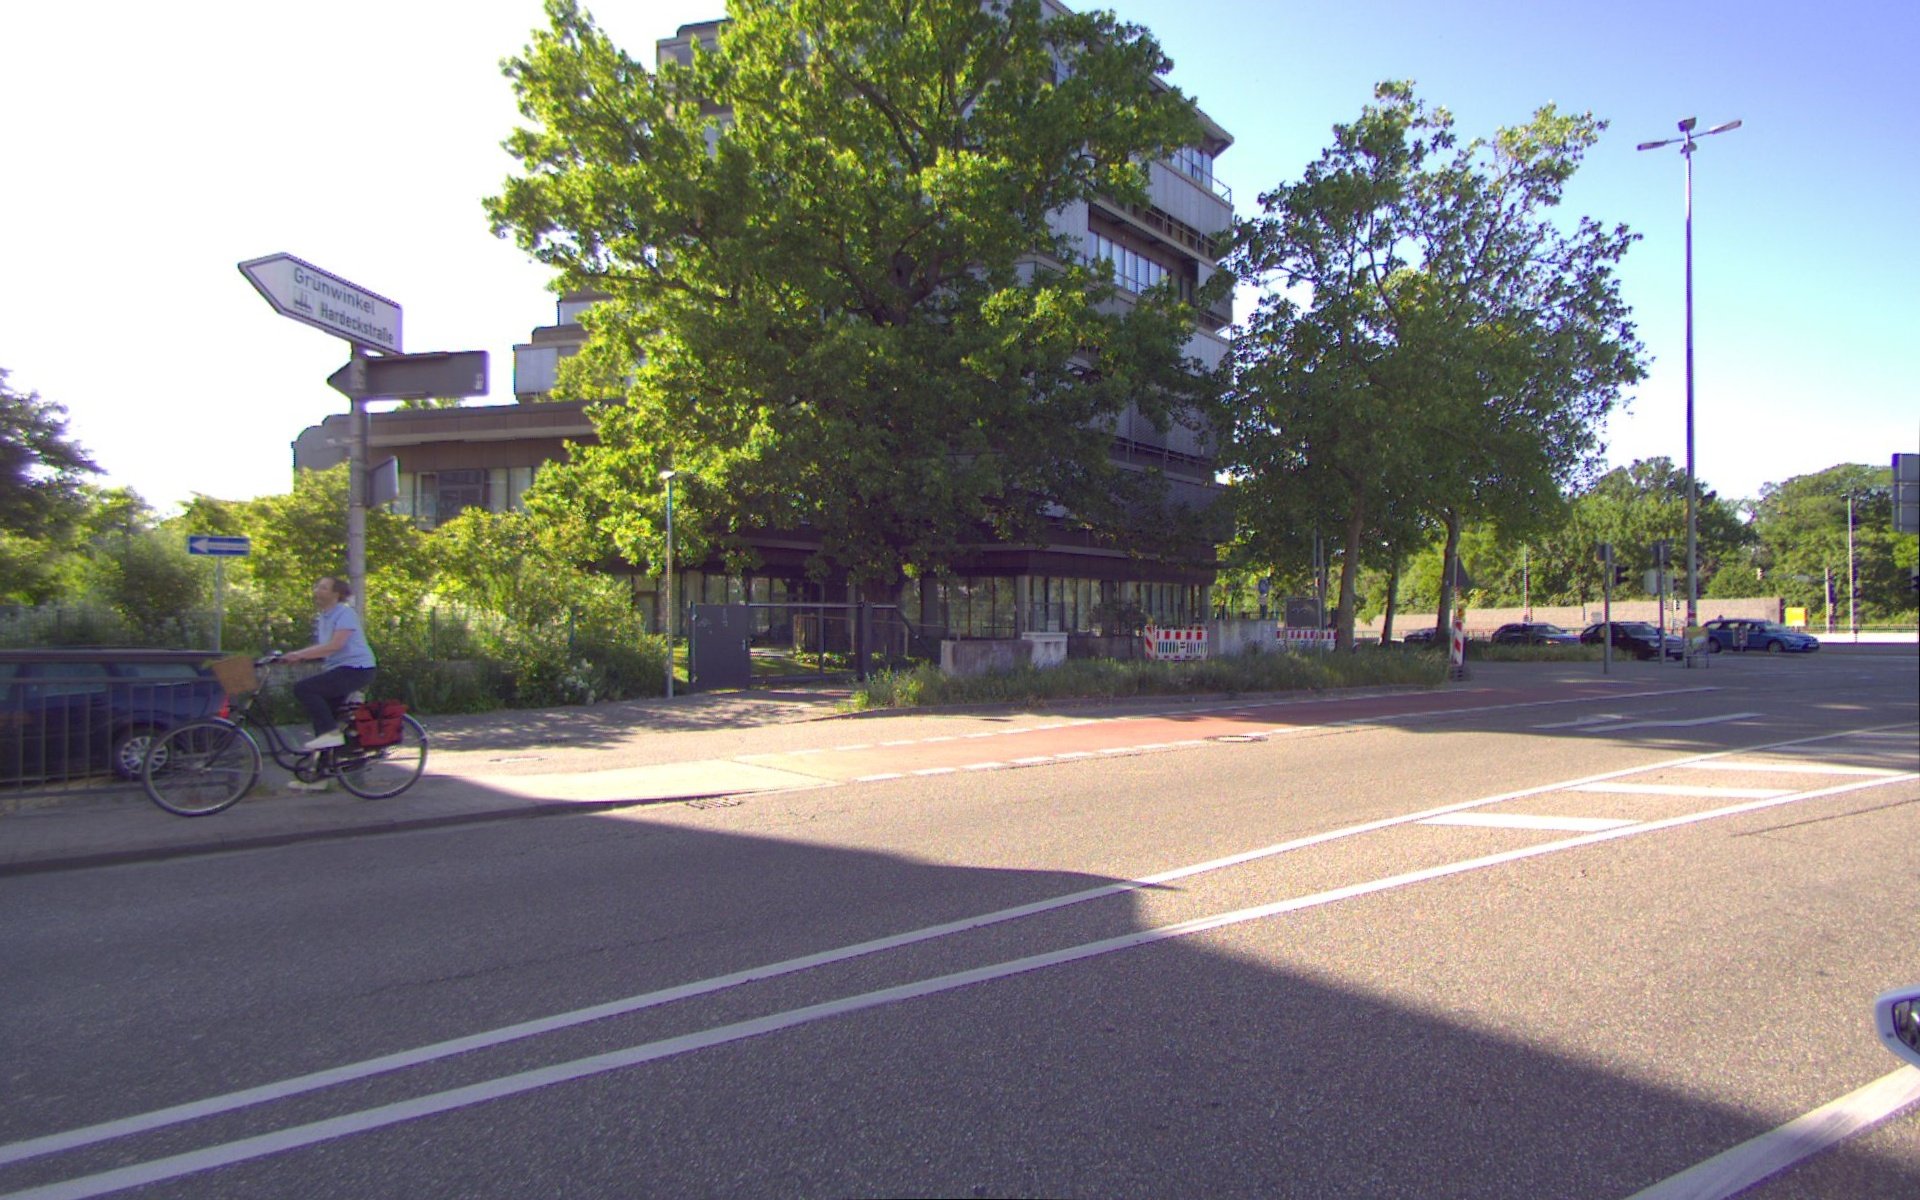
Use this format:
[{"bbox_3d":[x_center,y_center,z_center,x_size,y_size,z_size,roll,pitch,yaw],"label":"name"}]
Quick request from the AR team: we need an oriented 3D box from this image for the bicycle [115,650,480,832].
[{"bbox_3d":[-5.153,1.021,7.985,0.679,1.218,2.314,-1,-2,42],"label":"bicycle"}]

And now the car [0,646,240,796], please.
[{"bbox_3d":[-10.793,1.323,11.230,4.411,1.523,1.806,1,-2,-38],"label":"car"}]

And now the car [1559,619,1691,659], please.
[{"bbox_3d":[25.543,1.483,38.803,1.792,1.457,4.446,0,-2,-7],"label":"car"}]

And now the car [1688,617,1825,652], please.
[{"bbox_3d":[34.297,1.481,43.423,1.795,1.457,4.438,0,-2,-15],"label":"car"}]

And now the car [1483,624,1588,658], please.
[{"bbox_3d":[25.832,1.811,45.285,1.792,1.457,4.446,0,-2,-7],"label":"car"}]

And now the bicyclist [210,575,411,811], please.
[{"bbox_3d":[-5.147,0.698,7.995,0.679,1.723,1.191,-1,-2,42],"label":"bicyclist"}]
